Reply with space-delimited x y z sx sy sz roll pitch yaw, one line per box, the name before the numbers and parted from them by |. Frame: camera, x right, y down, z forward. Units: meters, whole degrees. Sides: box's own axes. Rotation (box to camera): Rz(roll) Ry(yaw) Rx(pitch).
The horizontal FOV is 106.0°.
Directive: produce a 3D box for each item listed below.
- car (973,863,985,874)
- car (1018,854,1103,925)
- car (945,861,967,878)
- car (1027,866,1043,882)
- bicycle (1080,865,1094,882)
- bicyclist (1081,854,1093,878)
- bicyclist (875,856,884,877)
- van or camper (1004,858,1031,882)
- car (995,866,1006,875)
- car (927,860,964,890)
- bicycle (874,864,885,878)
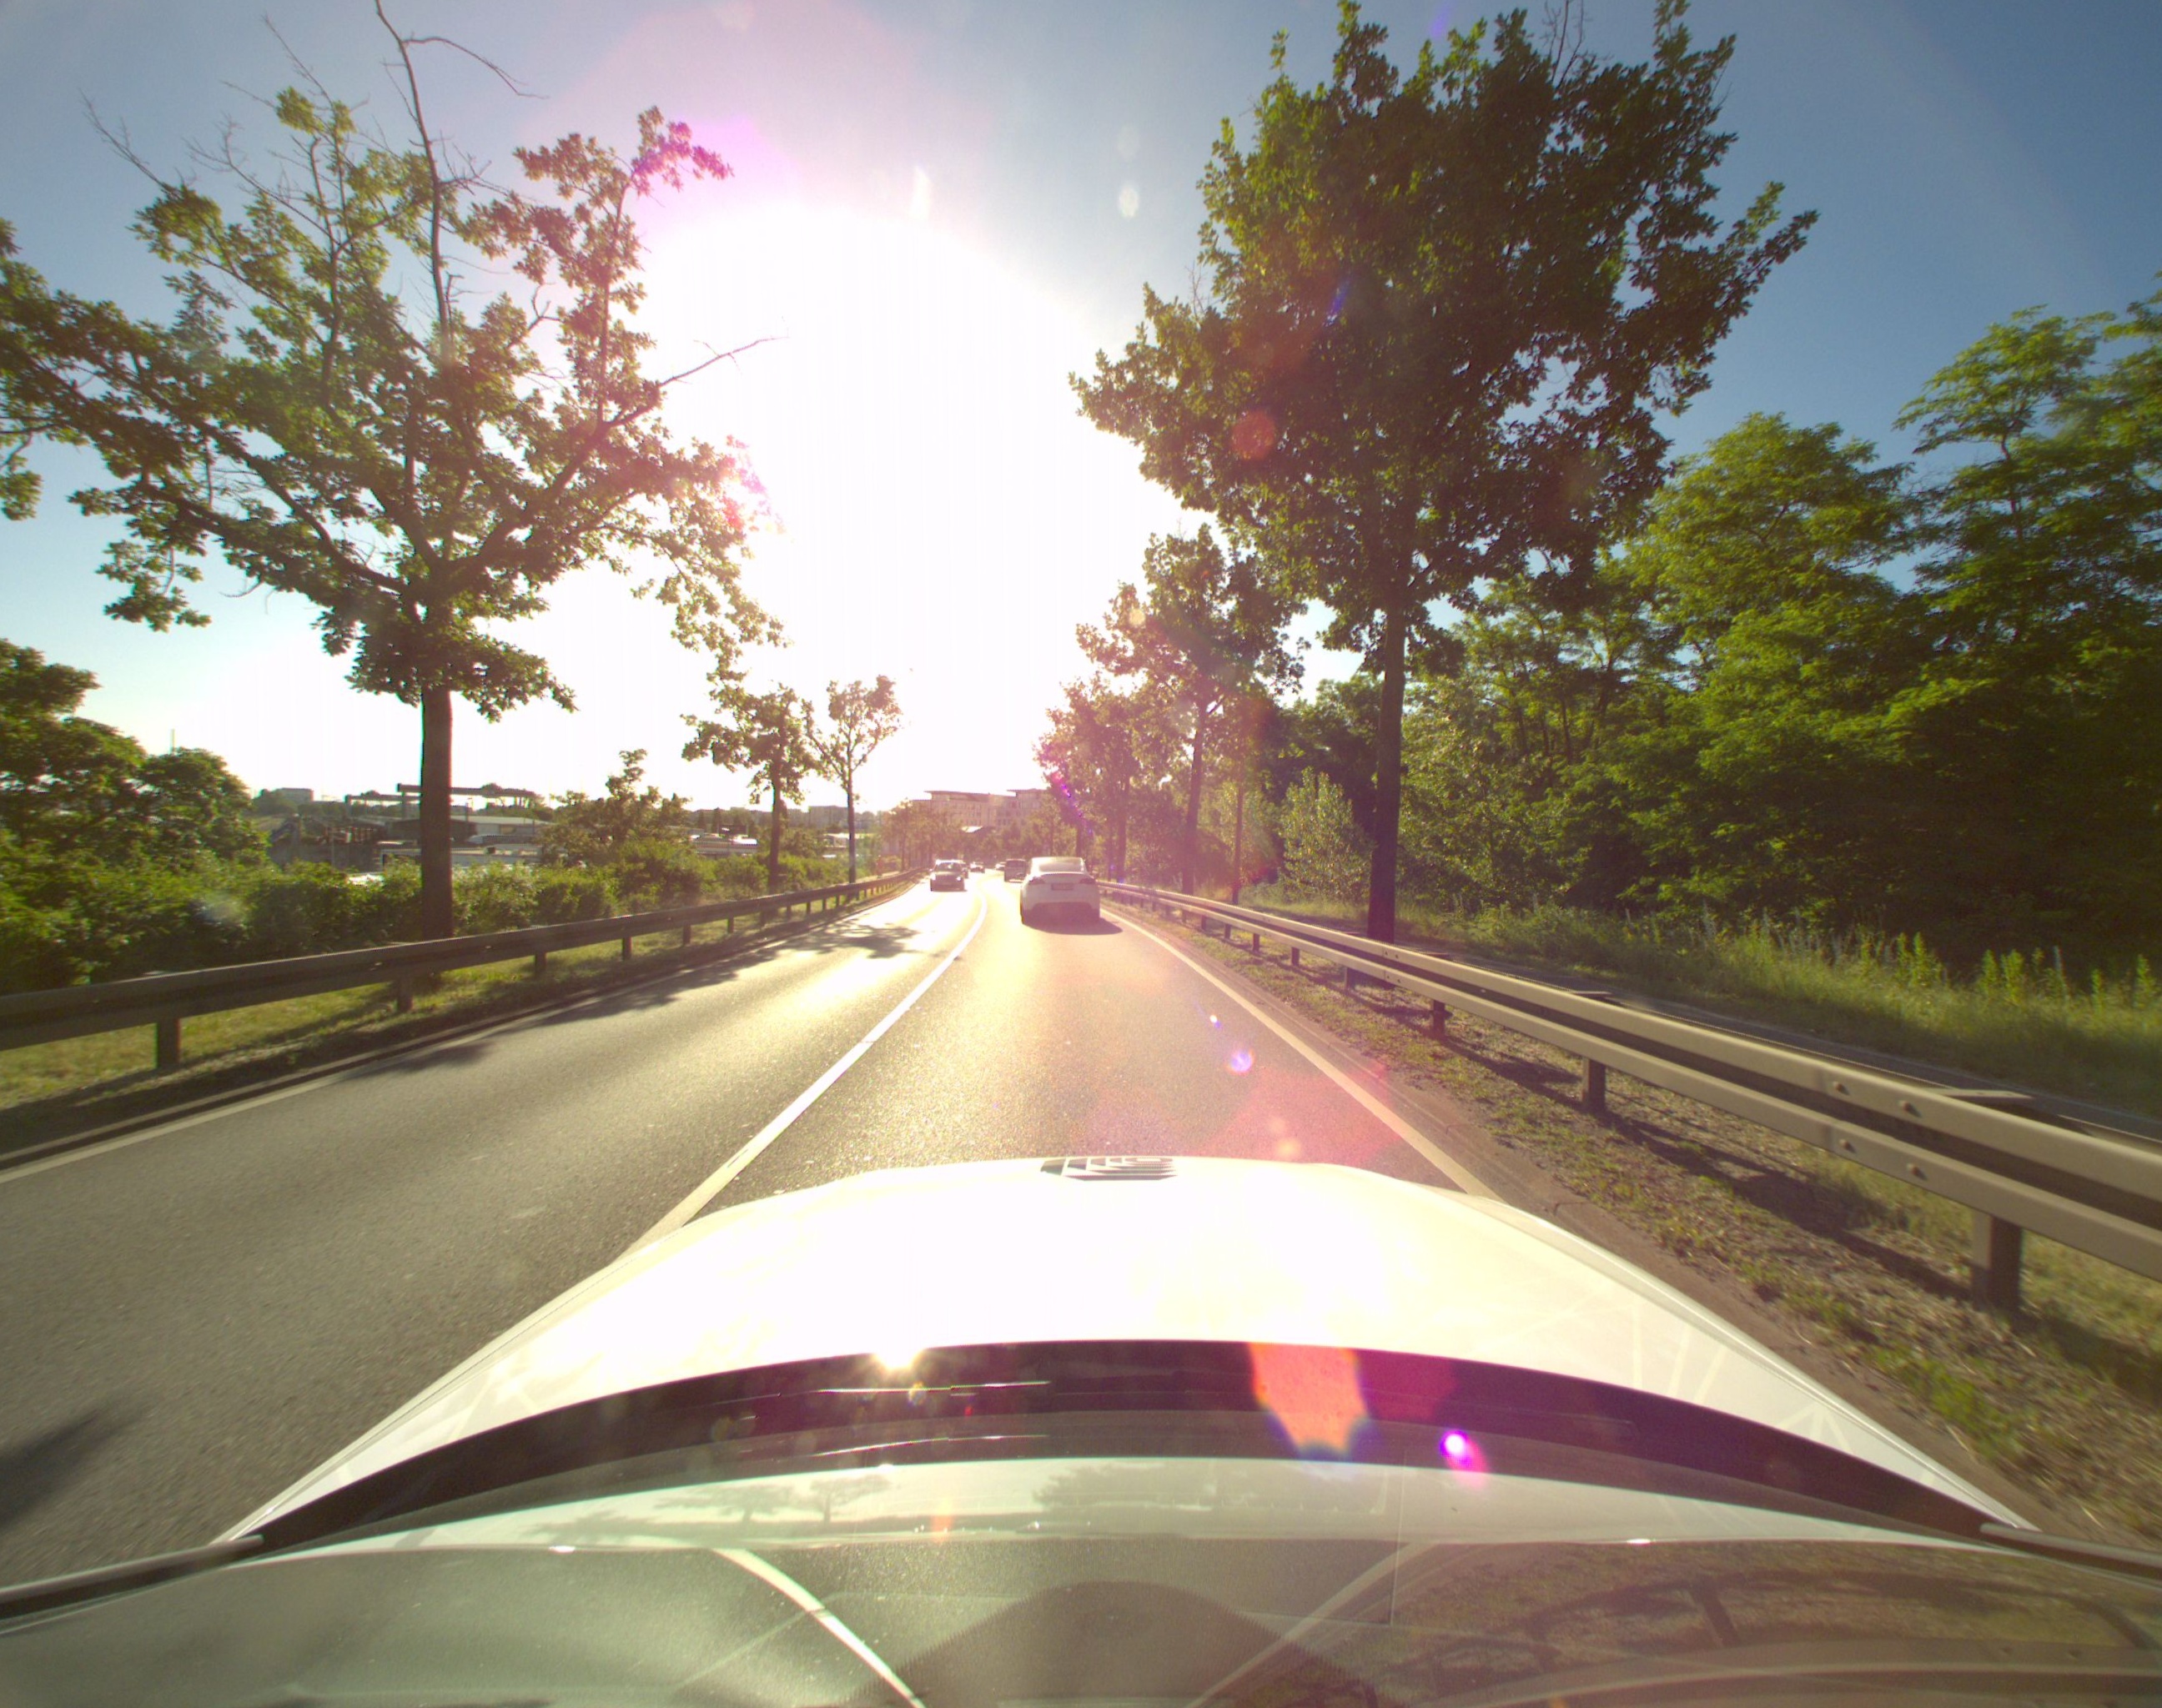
car | -14.177 1.964 113.136 1.689 1.441 4.206 1 0 -7
car | -0.637 0.841 21.056 1.911 1.641 4.402 1 0 -5
car | -11.379 1.362 74.370 1.848 1.492 4.703 1 0 -8
car | -4.871 2.093 86.374 1.601 1.434 3.674 3 2 -4
bicycle | 0.396 1.286 54.200 0.697 1.074 1.924 0 -2 6
bicyclist | 0.401 0.794 54.233 0.704 1.578 1.006 0 -1 5
bicyclist | -16.257 1.015 65.776 0.651 1.623 0.871 1 -1 -9
van or camper | -5.309 1.309 68.562 1.952 1.884 4.878 0 0 -1
car | -13.770 2.828 139.013 1.807 1.496 4.359 1 0 -6
car | -7.357 1.094 44.483 1.808 1.554 4.129 1 0 -8
bicycle | -16.235 1.376 65.651 0.660 1.095 2.102 1 -1 -8
